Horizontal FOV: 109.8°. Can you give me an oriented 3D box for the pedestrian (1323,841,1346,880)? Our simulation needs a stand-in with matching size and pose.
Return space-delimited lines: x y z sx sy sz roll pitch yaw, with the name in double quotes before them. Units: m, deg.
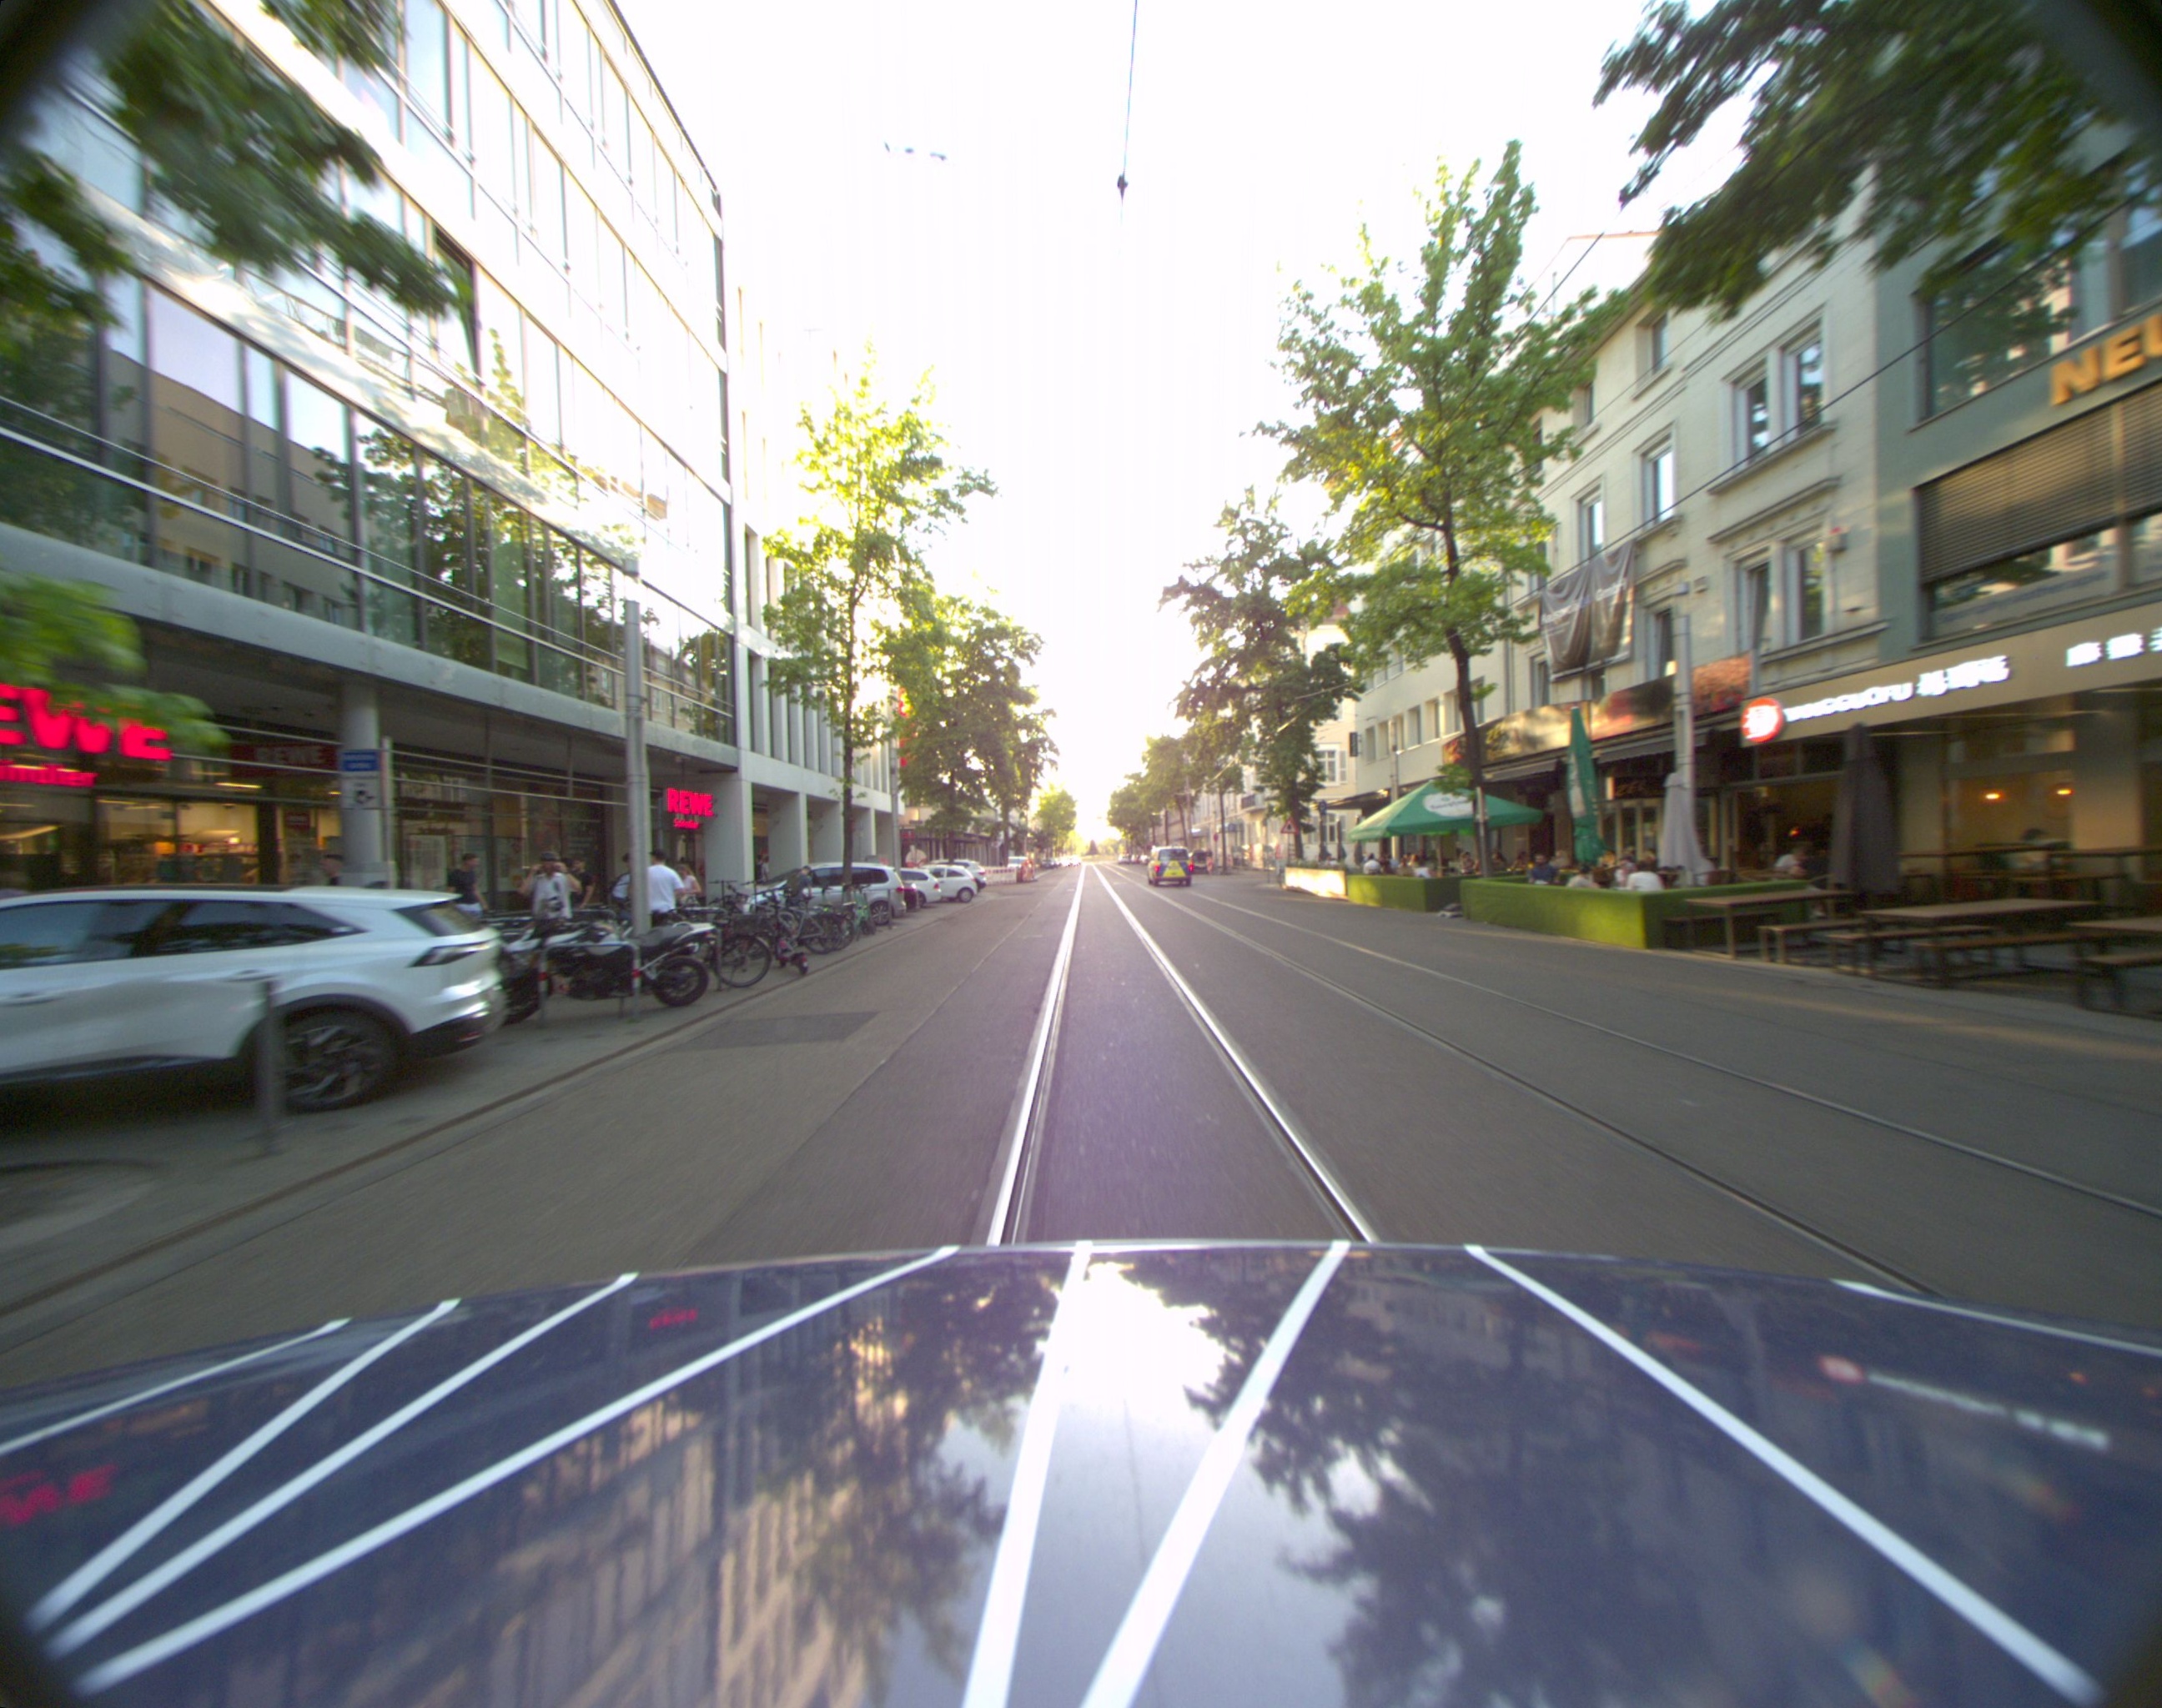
"pedestrian" 11.741 0.299 35.194 0.782 1.731 0.640 -3 2 -30

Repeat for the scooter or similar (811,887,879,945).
"scooter or similar" -5.195 1.341 16.762 1.335 1.175 0.497 -1 0 -37

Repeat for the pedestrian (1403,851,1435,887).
"pedestrian" 12.954 0.577 29.125 0.849 1.312 0.882 -2 1 5

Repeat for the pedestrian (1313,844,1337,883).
"pedestrian" 10.977 0.422 34.187 0.783 1.731 0.640 -4 2 -41

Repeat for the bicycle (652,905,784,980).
"bicycle" -5.763 1.376 12.104 1.836 1.069 0.622 1 -1 -31

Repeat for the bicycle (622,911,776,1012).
"bicycle" -5.045 1.377 10.065 1.752 1.110 0.805 -1 0 -31

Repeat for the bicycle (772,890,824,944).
"bicycle" -6.290 1.365 16.837 0.632 1.070 1.875 1 -1 -35

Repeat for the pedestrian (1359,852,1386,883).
"pedestrian" 13.080 0.602 34.131 0.887 1.312 0.882 -2 1 4

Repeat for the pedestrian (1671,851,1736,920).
"pedestrian" 12.418 0.614 15.186 0.656 1.323 0.765 -2 1 1

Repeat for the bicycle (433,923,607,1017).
"bicycle" -6.740 1.372 9.232 1.599 1.027 0.552 3 -1 -29

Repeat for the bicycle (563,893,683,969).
"bicycle" -7.785 1.273 12.964 1.699 1.182 0.553 1 -1 -37

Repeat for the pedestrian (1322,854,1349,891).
"pedestrian" 9.599 0.697 28.659 0.717 1.354 0.871 -2 1 3

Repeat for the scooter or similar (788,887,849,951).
"scooter or similar" -5.383 1.307 15.640 0.569 1.198 1.283 0 0 15

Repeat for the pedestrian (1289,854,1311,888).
"pedestrian" 9.099 0.712 31.610 0.694 1.369 0.792 -2 1 3

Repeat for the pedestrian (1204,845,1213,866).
"pedestrian" 12.029 0.131 71.586 0.679 1.874 0.769 -4 1 1

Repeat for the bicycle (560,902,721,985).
"bicycle" -6.634 1.325 11.565 2.002 1.141 0.697 1 -1 -18

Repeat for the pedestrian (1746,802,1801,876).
"pedestrian" 16.995 -0.360 18.652 0.657 1.755 0.764 -3 1 -18

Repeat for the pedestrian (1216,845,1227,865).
"pedestrian" 13.576 0.048 73.528 0.759 1.874 0.880 -4 1 1

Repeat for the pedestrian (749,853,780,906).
"pedestrian" -10.828 0.862 26.025 0.681 1.760 0.806 -2 -1 0

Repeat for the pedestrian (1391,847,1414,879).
"pedestrian" 13.640 0.373 32.205 0.623 1.312 0.842 -2 1 4

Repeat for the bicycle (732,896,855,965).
"bicycle" -5.197 1.347 13.782 1.997 1.123 0.679 1 -1 -30

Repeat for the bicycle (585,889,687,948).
"bicycle" -9.366 1.322 16.079 0.572 1.076 1.886 0 0 23

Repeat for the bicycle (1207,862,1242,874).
"bicycle" 9.906 0.953 52.431 2.076 0.702 1.330 -3 0 -6

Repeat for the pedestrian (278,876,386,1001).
"pedestrian" -10.619 1.167 10.804 0.681 1.689 0.806 -2 -1 0

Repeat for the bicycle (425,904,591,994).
"bicycle" -8.262 1.337 11.071 1.836 1.088 0.822 -1 0 -31

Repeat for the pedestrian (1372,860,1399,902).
"pedestrian" 9.273 0.817 23.139 0.587 1.228 0.544 -2 1 3

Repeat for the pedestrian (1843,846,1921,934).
"pedestrian" 13.038 0.569 12.385 0.538 1.370 0.679 -2 1 1

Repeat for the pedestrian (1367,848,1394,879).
"pedestrian" 13.021 0.403 33.062 0.849 1.312 0.882 -2 1 5

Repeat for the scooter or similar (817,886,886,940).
"scooter or similar" -5.309 1.350 17.592 0.578 1.143 1.404 -1 0 44

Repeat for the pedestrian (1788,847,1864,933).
"pedestrian" 12.354 0.582 12.617 0.606 1.370 0.648 -2 1 1

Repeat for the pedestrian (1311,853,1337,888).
"pedestrian" 9.615 0.640 30.083 0.717 1.354 0.924 -2 1 3

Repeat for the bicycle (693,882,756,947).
"bicycle" -7.584 1.258 16.126 1.590 1.281 0.581 0 -1 40

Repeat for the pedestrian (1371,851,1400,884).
"pedestrian" 12.829 0.561 32.064 0.887 1.312 0.882 -2 1 4

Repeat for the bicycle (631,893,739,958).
"bicycle" -7.287 1.302 14.049 1.696 1.143 0.501 0 0 -15

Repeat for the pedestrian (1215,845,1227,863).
"pedestrian" 13.202 0.014 71.672 0.886 1.646 0.762 -2 1 -1

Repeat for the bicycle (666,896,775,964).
"bicycle" -6.353 1.320 13.459 1.688 1.132 0.478 1 0 -19

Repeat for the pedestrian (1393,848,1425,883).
"pedestrian" 12.994 0.434 30.112 0.887 1.312 0.882 -2 1 4

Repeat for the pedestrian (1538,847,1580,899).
"pedestrian" 13.084 0.506 20.822 0.656 1.370 0.765 -2 1 1

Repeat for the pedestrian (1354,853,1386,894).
"pedestrian" 10.093 0.677 26.539 0.717 1.354 1.012 -2 1 3

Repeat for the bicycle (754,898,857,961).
"bicycle" -5.125 1.385 14.190 1.751 1.070 0.493 0 0 -30

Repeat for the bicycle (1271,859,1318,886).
"bicycle" 9.550 0.816 34.007 1.866 1.132 0.626 -2 1 -2

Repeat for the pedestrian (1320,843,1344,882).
"pedestrian" 11.544 0.387 34.948 0.782 1.731 0.640 -3 2 -33

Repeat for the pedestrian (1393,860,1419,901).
"pedestrian" 9.887 0.791 23.112 0.544 1.211 0.511 -2 1 3

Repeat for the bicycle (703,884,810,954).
"bicycle" -6.264 1.234 14.766 1.835 1.266 0.680 1 0 -18

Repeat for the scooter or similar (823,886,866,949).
"scooter or similar" -4.933 1.309 15.923 0.483 1.215 1.214 0 1 2

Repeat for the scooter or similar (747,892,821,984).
"scooter or similar" -4.682 1.283 11.951 0.698 1.296 1.389 -1 0 -38

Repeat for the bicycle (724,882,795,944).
"bicycle" -6.925 1.237 16.346 1.657 1.242 0.642 0 -1 36
